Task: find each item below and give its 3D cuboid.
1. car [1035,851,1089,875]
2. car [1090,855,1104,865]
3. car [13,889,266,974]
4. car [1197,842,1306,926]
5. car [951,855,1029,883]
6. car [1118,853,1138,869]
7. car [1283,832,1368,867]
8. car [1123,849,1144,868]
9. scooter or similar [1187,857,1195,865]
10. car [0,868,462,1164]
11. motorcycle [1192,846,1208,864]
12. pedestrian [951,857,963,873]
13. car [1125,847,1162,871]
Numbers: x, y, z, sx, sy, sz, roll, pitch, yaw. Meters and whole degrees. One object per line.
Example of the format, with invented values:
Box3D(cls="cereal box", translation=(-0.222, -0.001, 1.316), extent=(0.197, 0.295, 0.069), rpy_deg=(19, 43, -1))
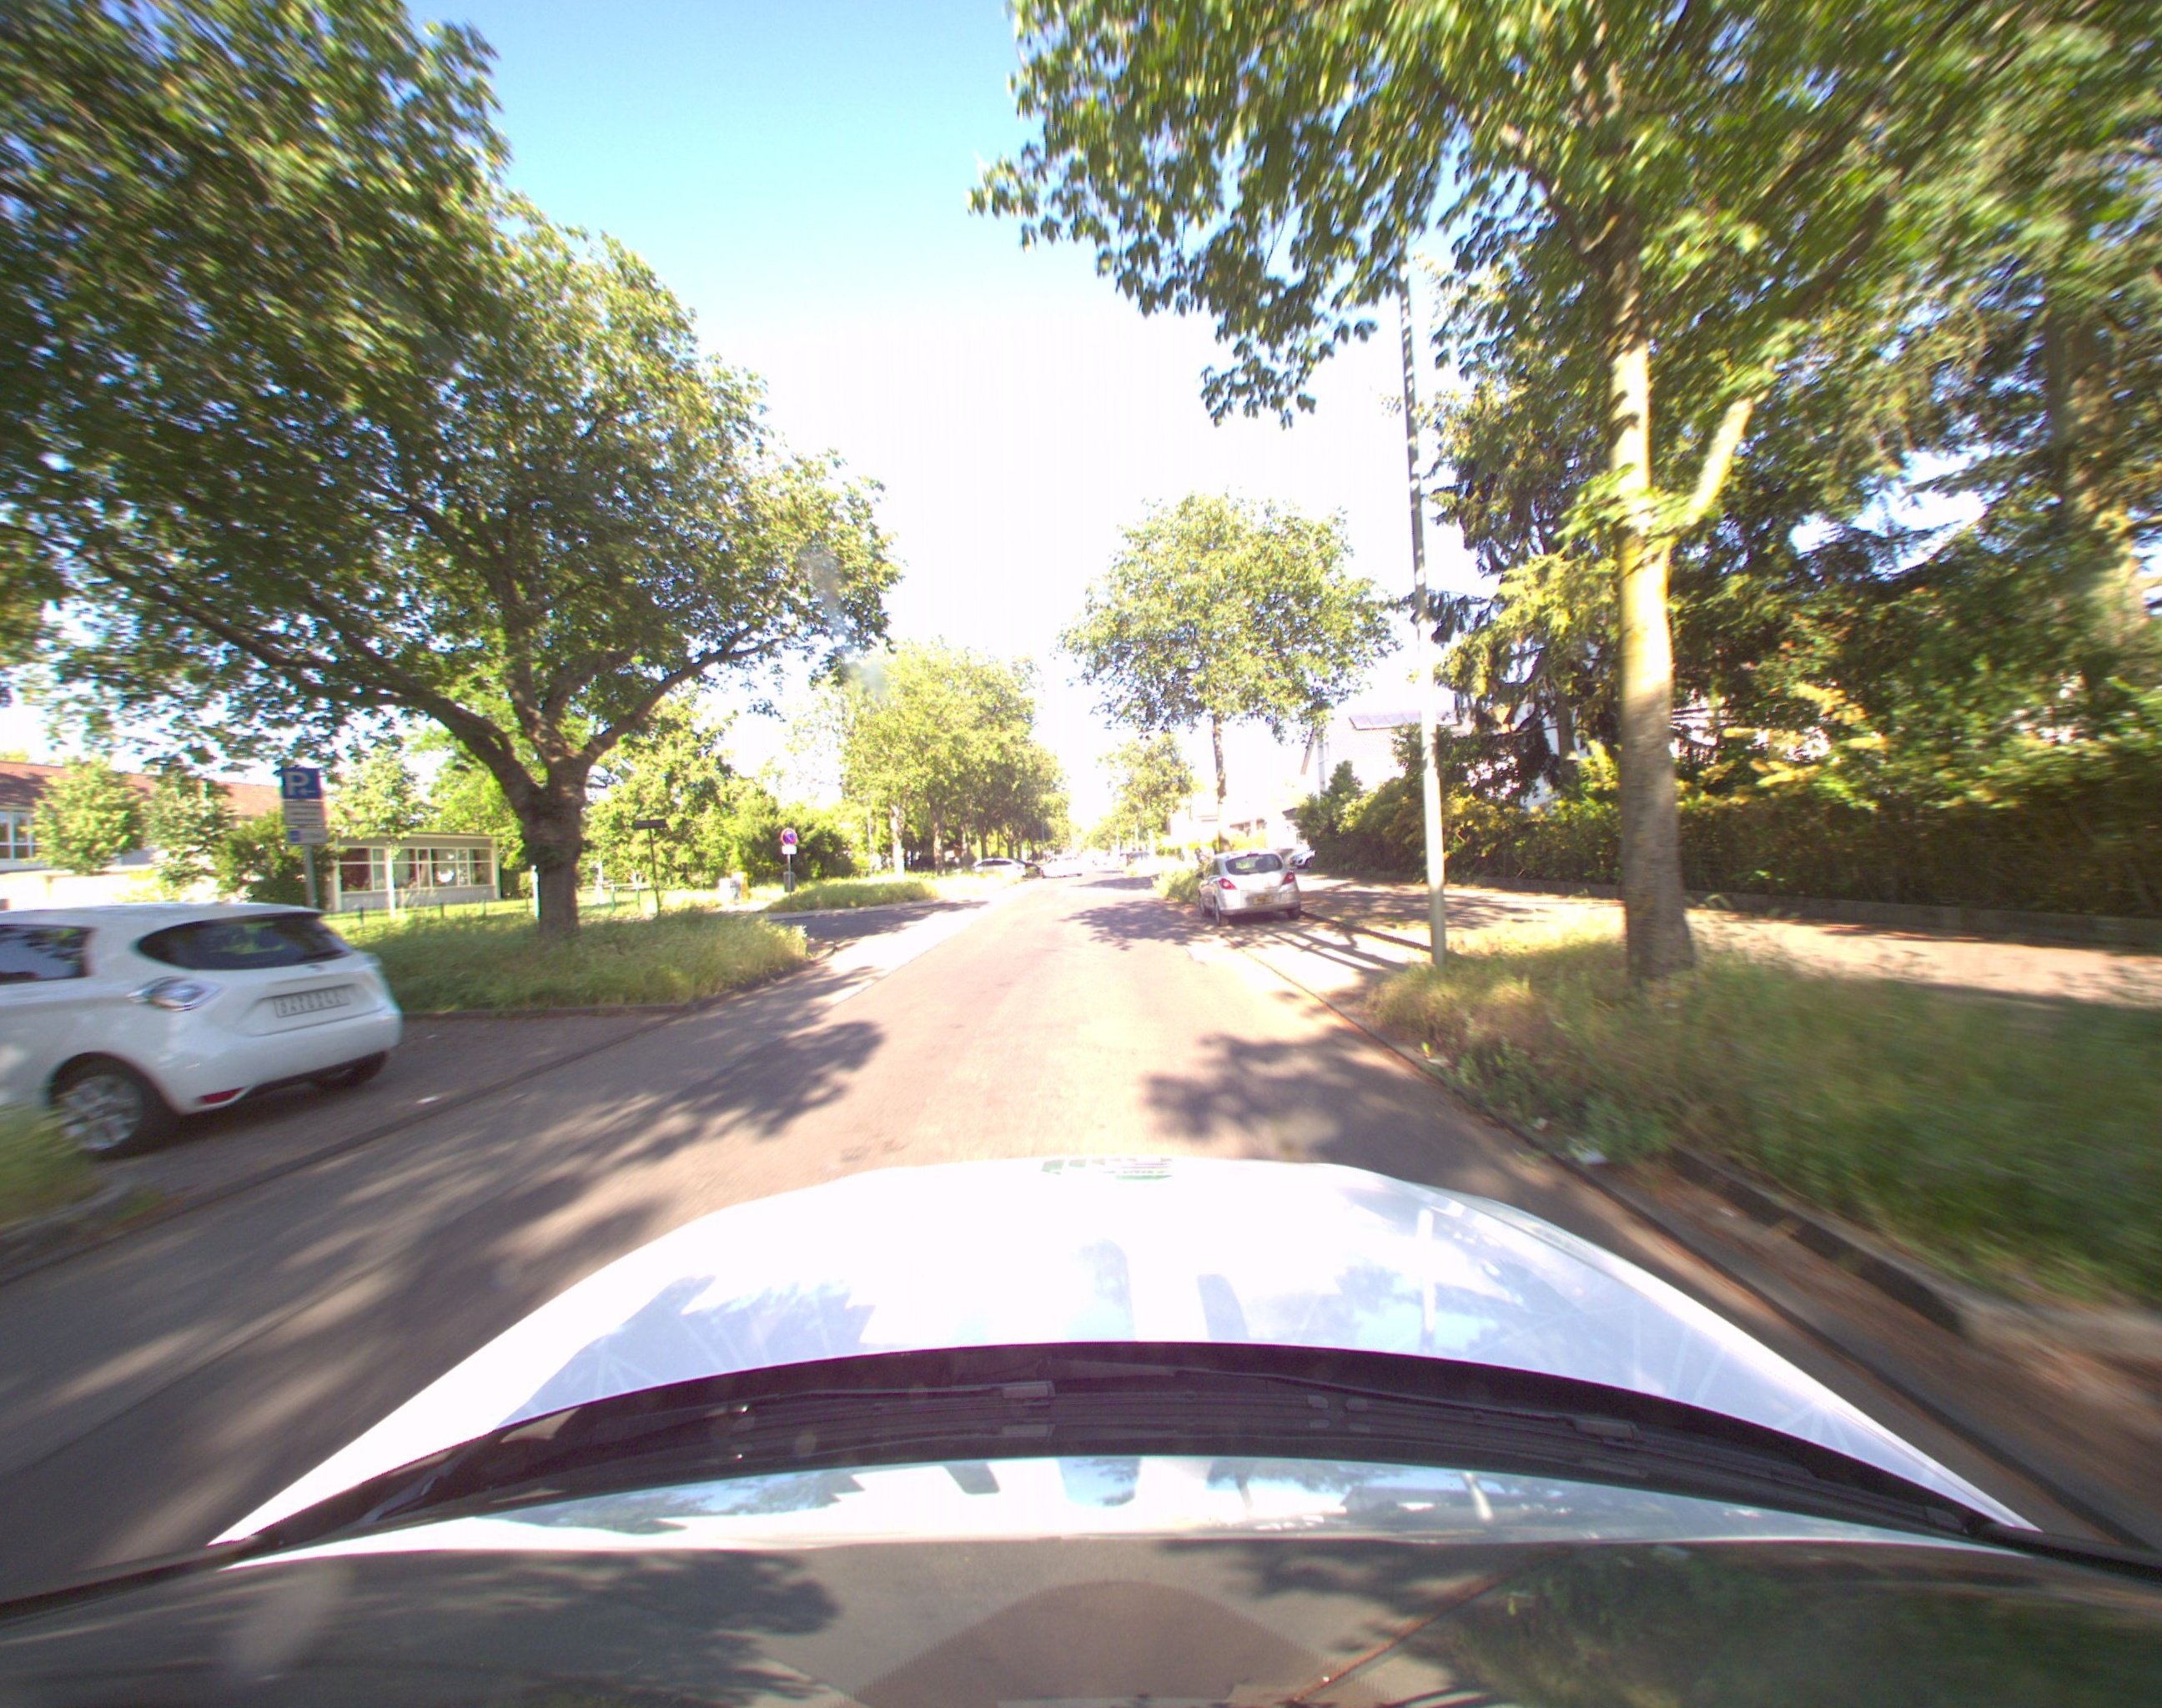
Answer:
Box3D(cls="car", translation=(-1.330, 0.623, 55.053), extent=(2.005, 1.455, 4.187), rpy_deg=(-3, 0, -27))
Box3D(cls="car", translation=(2.315, 0.868, 116.888), extent=(1.986, 1.508, 3.659), rpy_deg=(0, 0, 1))
Box3D(cls="car", translation=(-22.864, 1.849, 19.890), extent=(3.973, 1.714, 1.822), rpy_deg=(-3, 0, 0))
Box3D(cls="car", translation=(3.606, 0.601, 17.924), extent=(1.982, 1.510, 4.009), rpy_deg=(-4, -1, 8))
Box3D(cls="car", translation=(-5.763, 0.939, 52.092), extent=(4.653, 1.503, 2.001), rpy_deg=(-3, 0, 2))
Box3D(cls="car", translation=(5.574, 0.896, 97.069), extent=(1.988, 1.728, 3.997), rpy_deg=(-5, -1, -1))
Box3D(cls="car", translation=(13.234, -0.223, 44.165), extent=(3.981, 1.640, 1.773), rpy_deg=(-3, 0, -6))
Box3D(cls="car", translation=(4.446, 0.394, 69.651), extent=(1.604, 1.622, 4.383), rpy_deg=(0, 0, 1))
Box3D(cls="scooter or similar", translation=(11.389, 0.712, 84.563), extent=(0.368, 0.858, 1.406), rpy_deg=(-1, 0, -12))
Box3D(cls="car", translation=(-7.226, 1.044, 5.825), extent=(3.974, 1.660, 1.966), rpy_deg=(-3, 0, -1))
Box3D(cls="motorcycle", translation=(8.805, 0.047, 60.435), extent=(0.815, 1.227, 2.352), rpy_deg=(-4, 0, 1))
Box3D(cls="pedestrian", translation=(-14.602, 1.305, 95.763), extent=(1.227, 1.827, 1.542), rpy_deg=(-1, -1, -16))
Box3D(cls="car", translation=(4.407, 0.347, 58.226), extent=(1.990, 1.622, 4.374), rpy_deg=(0, 0, -5))
